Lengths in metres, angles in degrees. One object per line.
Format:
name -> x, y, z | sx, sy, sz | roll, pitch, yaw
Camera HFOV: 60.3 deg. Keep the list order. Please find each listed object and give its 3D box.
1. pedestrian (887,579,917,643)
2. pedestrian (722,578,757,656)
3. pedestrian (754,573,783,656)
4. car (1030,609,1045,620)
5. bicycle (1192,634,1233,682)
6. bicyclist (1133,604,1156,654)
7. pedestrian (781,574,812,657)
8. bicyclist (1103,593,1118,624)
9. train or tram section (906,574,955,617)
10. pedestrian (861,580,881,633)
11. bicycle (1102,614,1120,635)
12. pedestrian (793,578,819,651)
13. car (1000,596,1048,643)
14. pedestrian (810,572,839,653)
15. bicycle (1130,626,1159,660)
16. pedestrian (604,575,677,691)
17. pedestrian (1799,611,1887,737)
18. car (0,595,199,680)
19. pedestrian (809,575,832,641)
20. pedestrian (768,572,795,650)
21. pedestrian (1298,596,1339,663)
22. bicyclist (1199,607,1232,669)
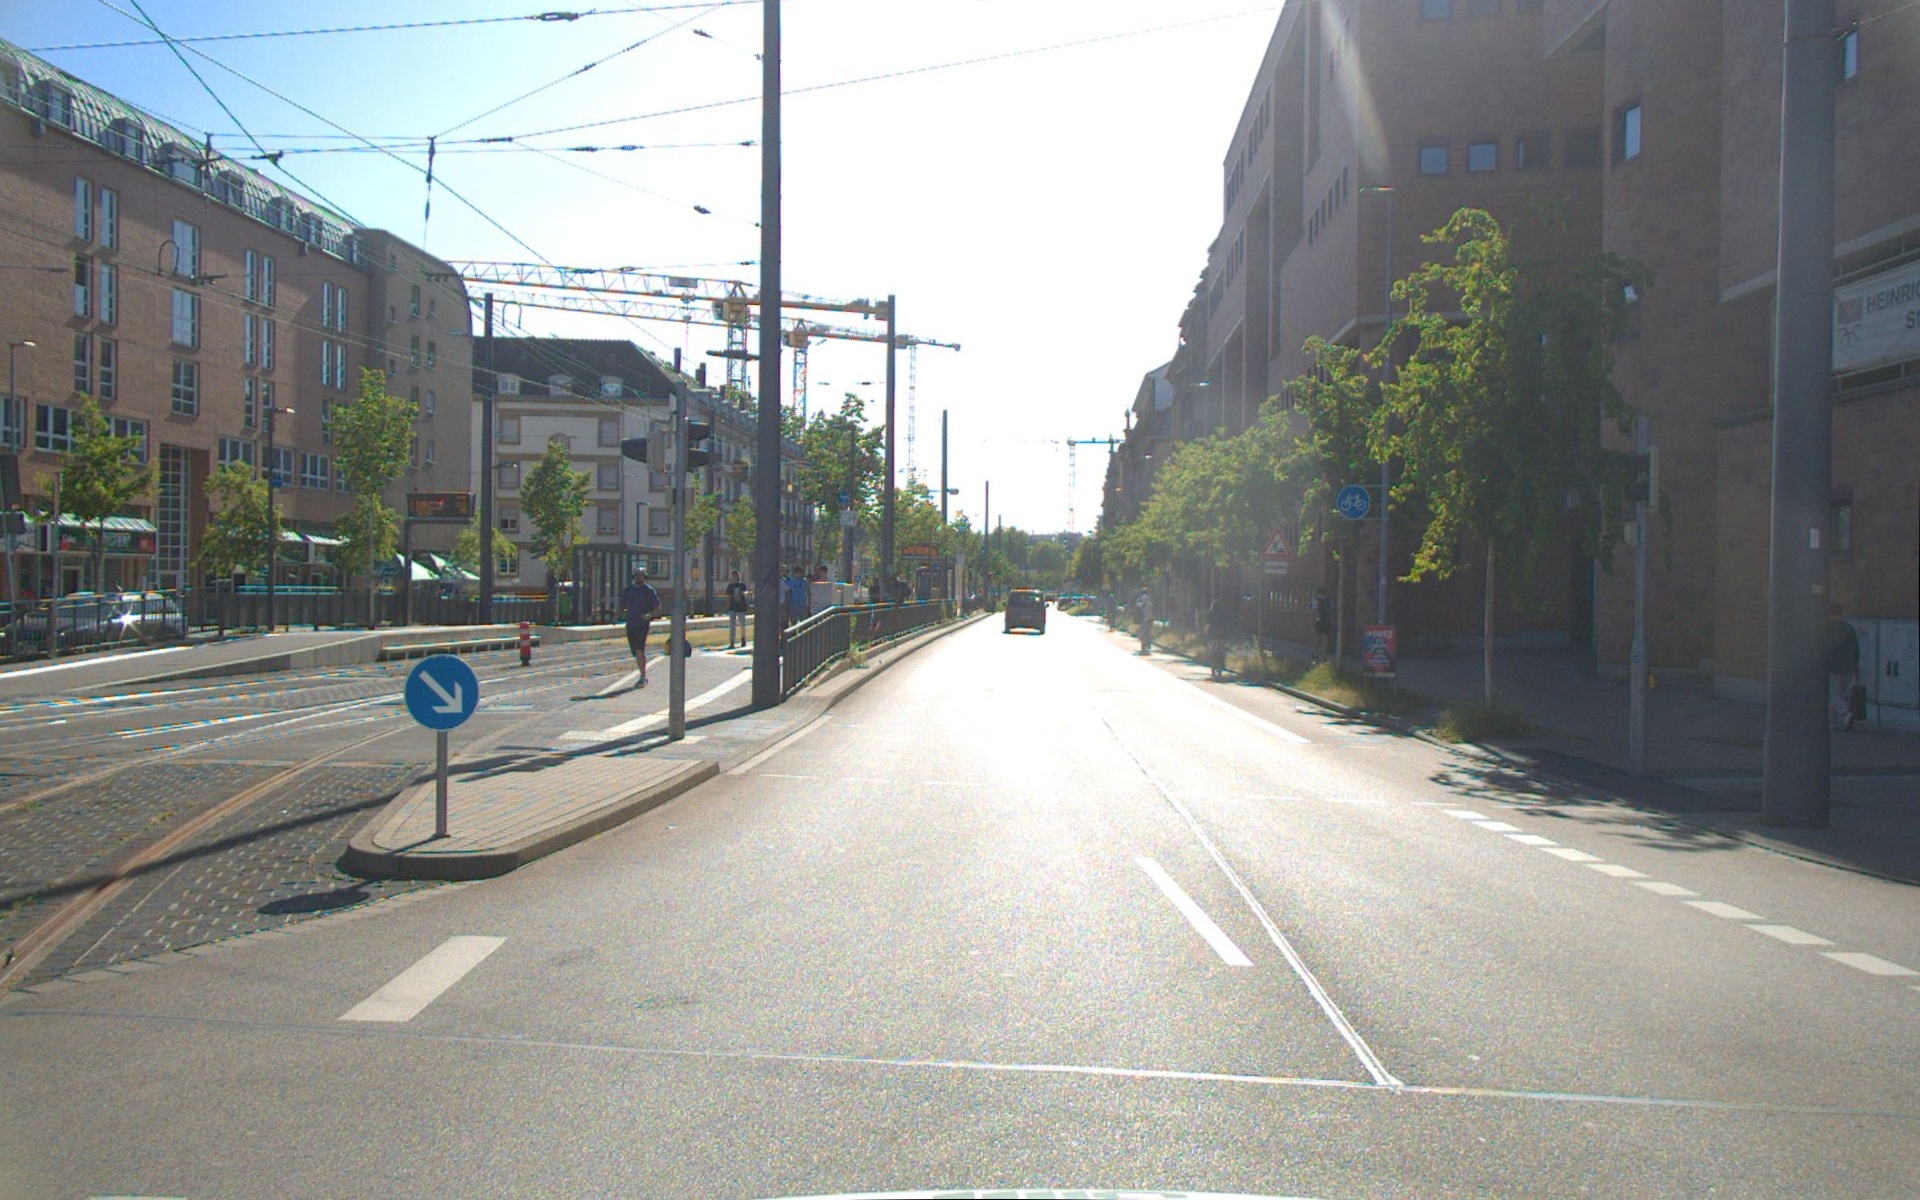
pedestrian -> -1.604, 0.317, 45.990 | 0.705, 1.765, 0.599 | 1, 0, -17
pedestrian -> -4.608, 0.349, 34.553 | 0.588, 1.594, 0.914 | 0, 0, 0
pedestrian -> -3.938, 0.303, 34.038 | 0.499, 1.684, 0.761 | 0, 0, 0
car -> 10.730, 2.003, 228.549 | 1.952, 1.445, 4.001 | 0, 0, 2
bicycle -> 5.712, 1.300, 37.537 | 0.590, 1.002, 2.315 | 1, 0, 0
bicyclist -> 5.817, 0.899, 52.148 | 0.653, 1.553, 0.707 | 1, 0, 0
pedestrian -> -3.383, 0.314, 34.269 | 0.527, 1.684, 0.896 | 0, 0, 0
bicyclist -> 7.577, 0.437, 83.237 | 0.653, 1.553, 0.707 | 1, 0, 0
train or tram section -> -2.167, -0.330, 127.409 | 2.277, 3.055, 13.168 | 2, 0, 5
pedestrian -> -2.832, 0.200, 52.597 | 0.588, 1.684, 0.666 | 0, 0, 0
bicycle -> 7.569, 1.232, 83.134 | 0.653, 1.002, 2.586 | 1, 0, 0
pedestrian -> -3.362, 0.315, 36.076 | 0.508, 1.578, 0.600 | 0, 0, -2
car -> 2.729, 0.814, 71.507 | 1.952, 1.982, 4.000 | 0, 0, 0
pedestrian -> -2.826, 0.262, 34.584 | 0.527, 1.684, 0.706 | 0, 0, 0
bicycle -> 5.817, 1.351, 52.285 | 0.653, 1.002, 2.586 | 1, 0, 0
pedestrian -> -4.792, 0.491, 24.829 | 0.603, 1.698, 0.863 | -2, 1, 29
pedestrian -> 11.418, 0.935, 21.415 | 0.605, 1.590, 0.987 | 0, 0, 0
car -> -16.799, 0.688, 32.429 | 1.576, 1.422, 4.229 | -3, 1, 2
pedestrian -> -3.631, 0.205, 43.006 | 0.527, 1.684, 0.633 | 0, 0, 0
pedestrian -> -4.170, 0.255, 38.660 | 0.527, 1.804, 0.633 | 0, 0, 0
pedestrian -> 9.439, 0.769, 43.594 | 0.862, 1.747, 0.931 | 0, 0, 0
bicyclist -> 5.715, 0.841, 36.983 | 0.580, 1.359, 0.933 | 1, 0, 0
